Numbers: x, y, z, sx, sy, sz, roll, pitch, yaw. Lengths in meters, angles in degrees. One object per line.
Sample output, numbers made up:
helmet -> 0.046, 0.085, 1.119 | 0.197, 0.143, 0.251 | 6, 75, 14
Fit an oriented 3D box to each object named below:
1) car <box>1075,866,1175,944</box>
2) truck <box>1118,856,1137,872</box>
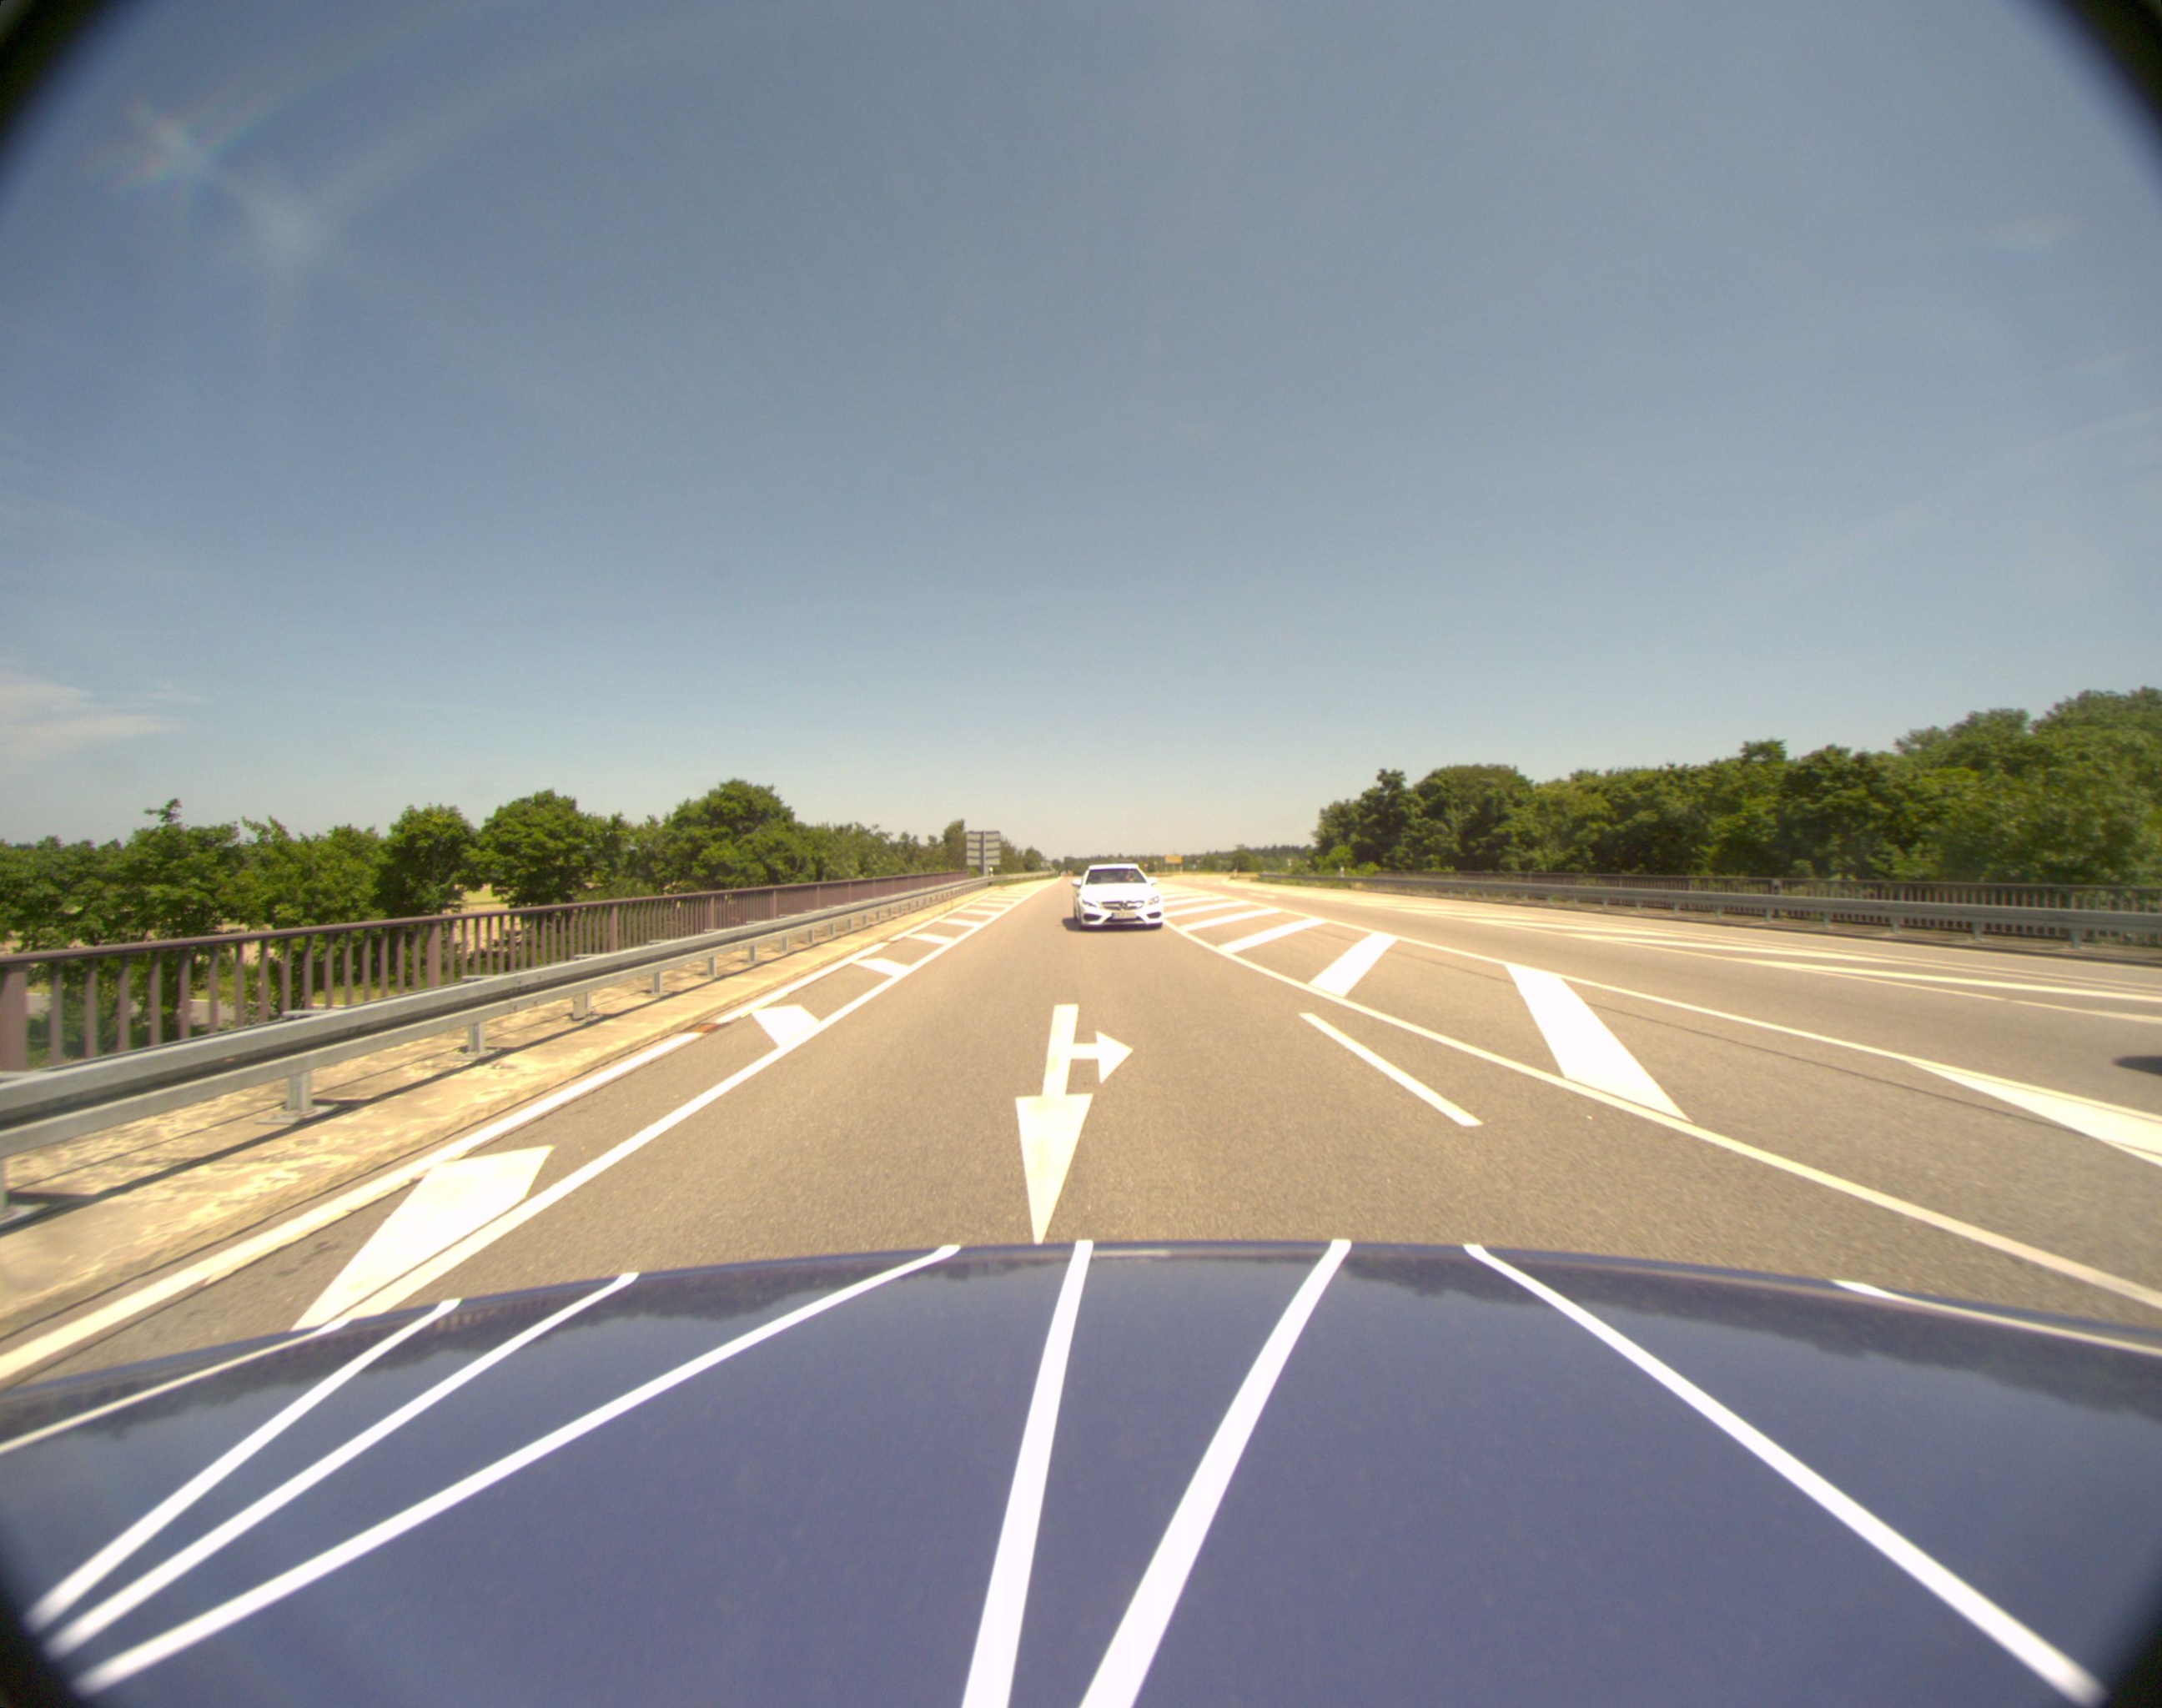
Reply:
car -> 0.836, 1.014, 16.633 | 1.813, 1.407, 4.110 | -1, 0, -2
truck -> 6.500, 1.372, 106.018 | 2.212, 2.229, 5.373 | -1, 0, -1
